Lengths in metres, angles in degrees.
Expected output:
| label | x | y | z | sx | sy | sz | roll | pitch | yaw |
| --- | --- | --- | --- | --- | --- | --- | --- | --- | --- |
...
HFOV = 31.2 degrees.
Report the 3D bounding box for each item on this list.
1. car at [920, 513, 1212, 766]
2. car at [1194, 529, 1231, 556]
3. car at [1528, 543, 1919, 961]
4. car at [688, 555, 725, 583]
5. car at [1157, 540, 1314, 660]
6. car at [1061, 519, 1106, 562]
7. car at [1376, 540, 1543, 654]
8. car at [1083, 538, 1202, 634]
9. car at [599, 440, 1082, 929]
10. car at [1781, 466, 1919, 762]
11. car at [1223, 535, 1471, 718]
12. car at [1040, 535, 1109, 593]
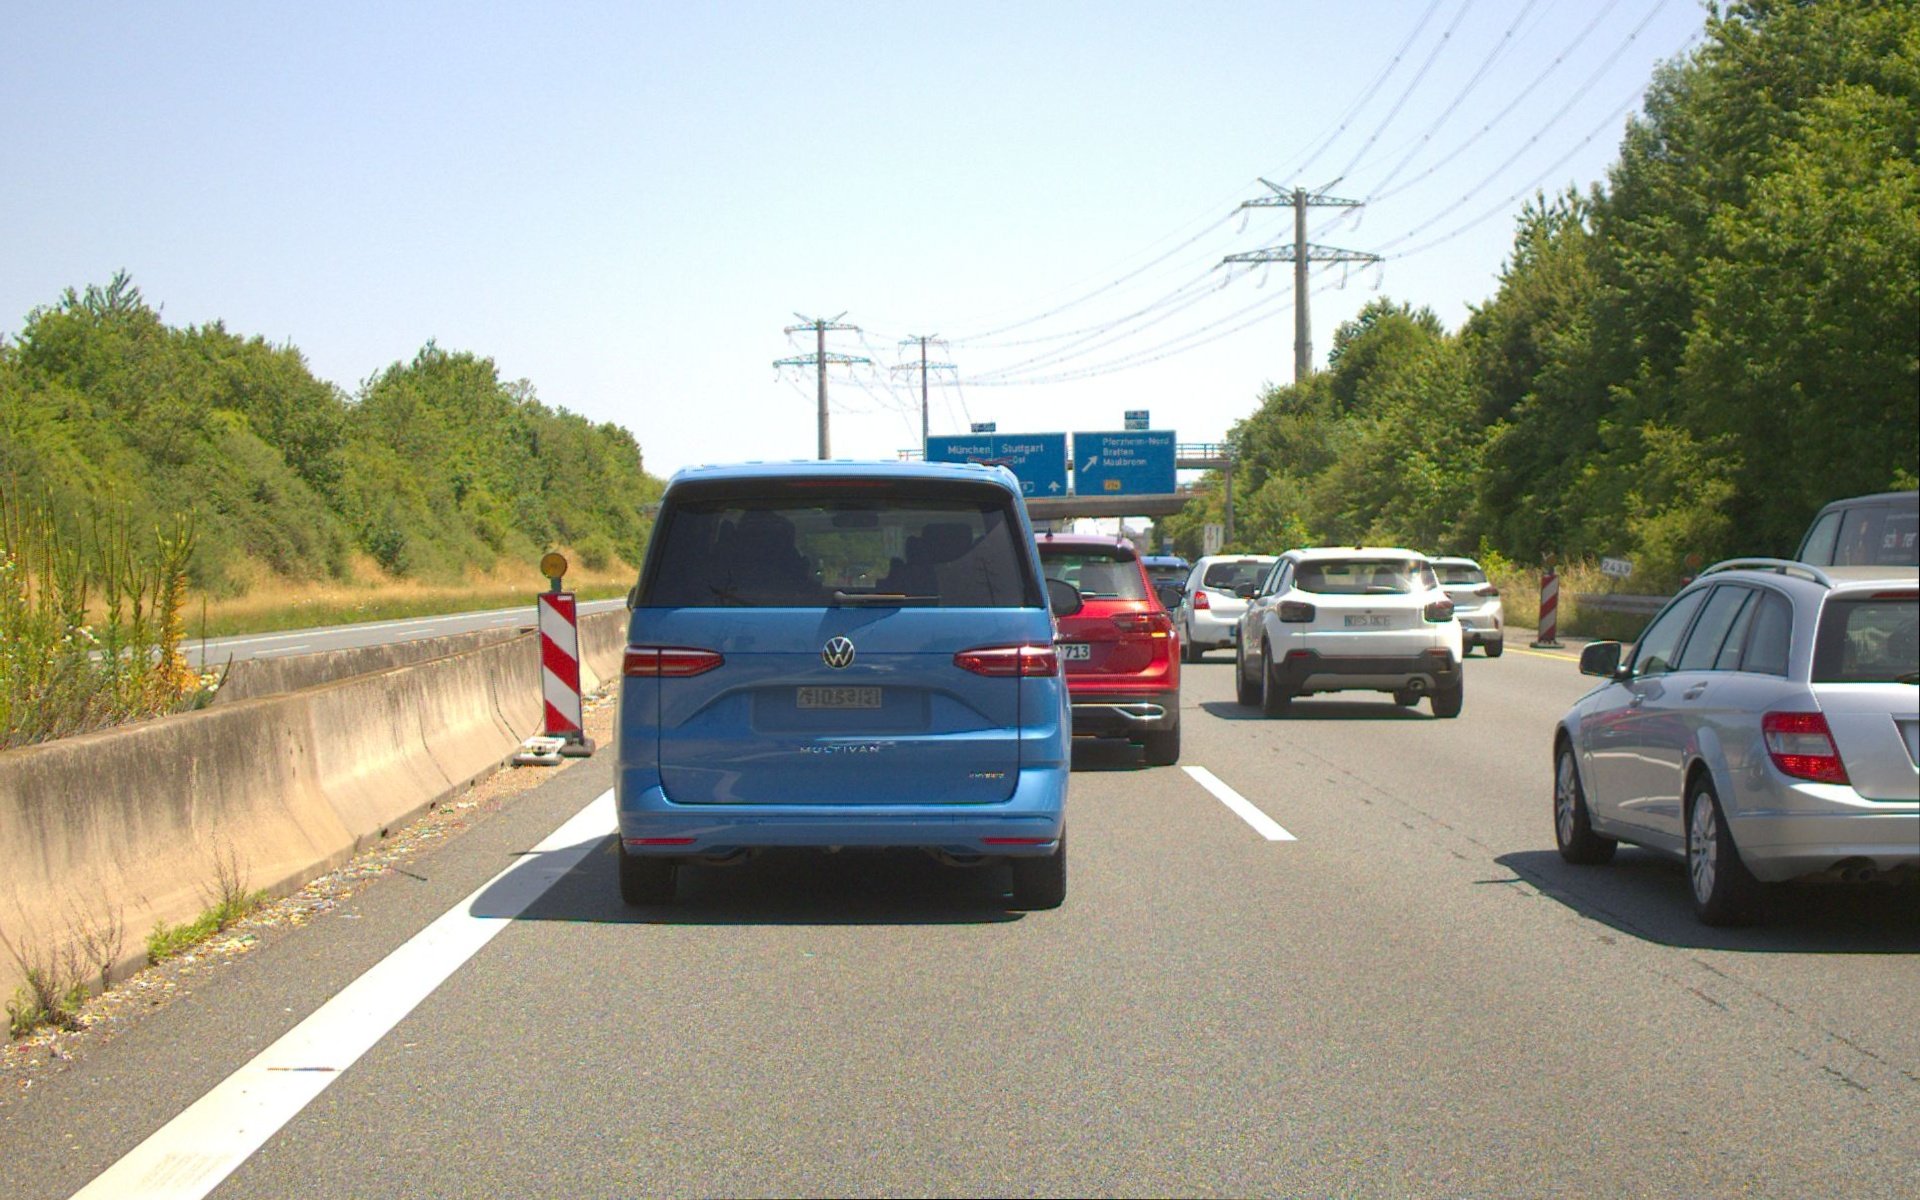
| label | x | y | z | sx | sy | sz | roll | pitch | yaw |
| --- | --- | --- | --- | --- | --- | --- | --- | --- | --- |
| car | 0.686 | 0.244 | 25.172 | 1.874 | 1.665 | 4.360 | 1 | 1 | -1 |
| car | 15.814 | -3.592 | 215.253 | 1.874 | 1.665 | 4.360 | 1 | 1 | -1 |
| car | 3.734 | 0.540 | 14.705 | 1.770 | 1.512 | 4.360 | 1 | 1 | -1 |
| car | -16.549 | -2.030 | 224.610 | 1.993 | 1.644 | 4.630 | -3 | 1 | 0 |
| car | 3.814 | -0.023 | 48.149 | 1.797 | 1.588 | 4.227 | 1 | 1 | -1 |
| car | 7.094 | -3.418 | 198.399 | 2.377 | 2.420 | 4.227 | 1 | 1 | -1 |
| car | 7.334 | -0.070 | 50.812 | 1.797 | 1.588 | 4.227 | 1 | 1 | -1 |
| car | 3.148 | -0.256 | 60.050 | 1.797 | 1.588 | 4.227 | 1 | 1 | -1 |
| car | -0.522 | 0.311 | 15.747 | 1.874 | 1.905 | 4.360 | 1 | 1 | -1 |
| car | 7.411 | 0.087 | 25.124 | 1.797 | 2.007 | 4.227 | 1 | 1 | 0 |
| car | 3.565 | 0.211 | 32.334 | 1.797 | 1.588 | 4.227 | 1 | 1 | -1 |
| car | 3.270 | -1.029 | 98.723 | 1.797 | 1.588 | 4.227 | 1 | 1 | -1 |
